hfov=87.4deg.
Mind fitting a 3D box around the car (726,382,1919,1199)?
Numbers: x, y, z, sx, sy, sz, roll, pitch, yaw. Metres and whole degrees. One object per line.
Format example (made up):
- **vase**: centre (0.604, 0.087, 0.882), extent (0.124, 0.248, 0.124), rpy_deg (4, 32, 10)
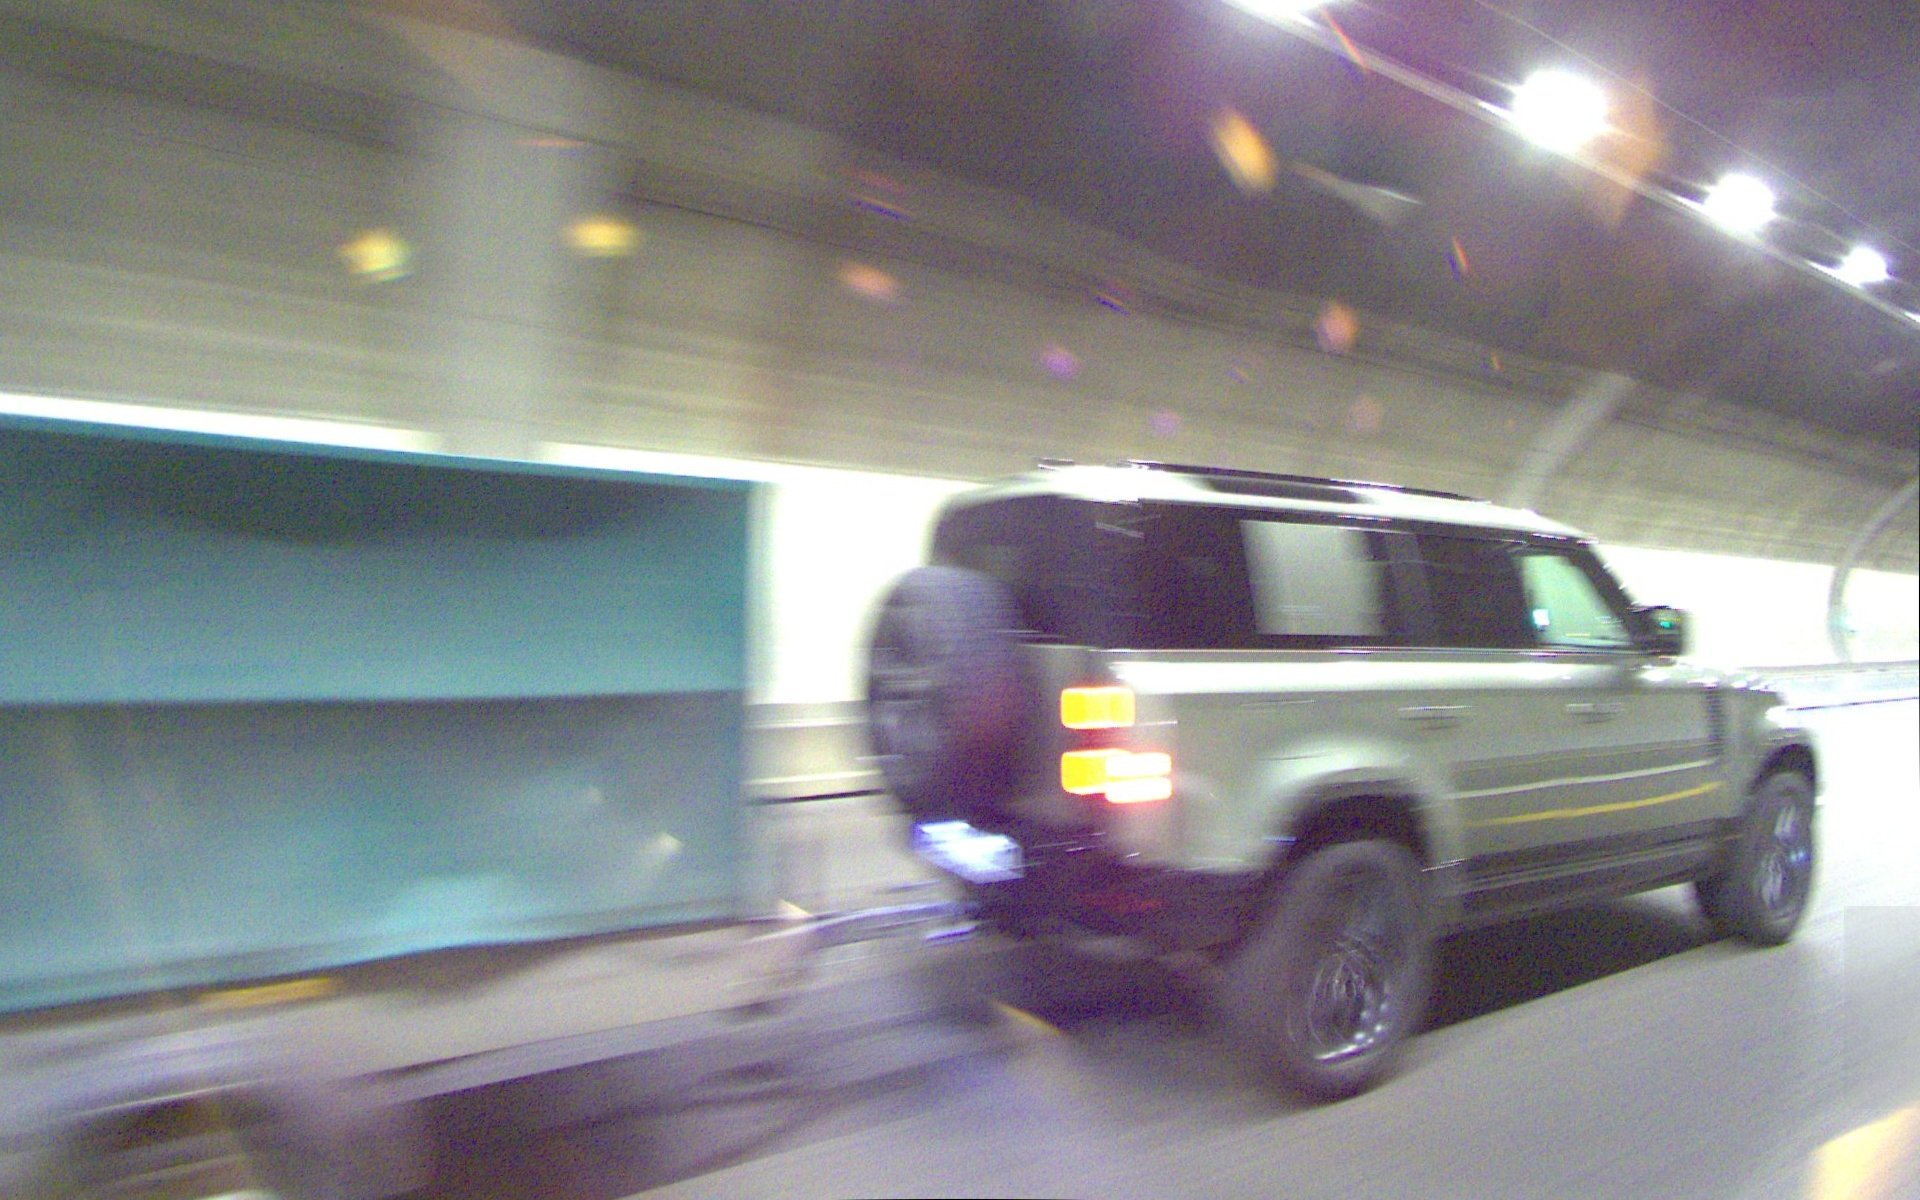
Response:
- **car**: centre (1.907, 0.530, 4.442), extent (5.388, 1.920, 1.984), rpy_deg (1, 0, -30)
